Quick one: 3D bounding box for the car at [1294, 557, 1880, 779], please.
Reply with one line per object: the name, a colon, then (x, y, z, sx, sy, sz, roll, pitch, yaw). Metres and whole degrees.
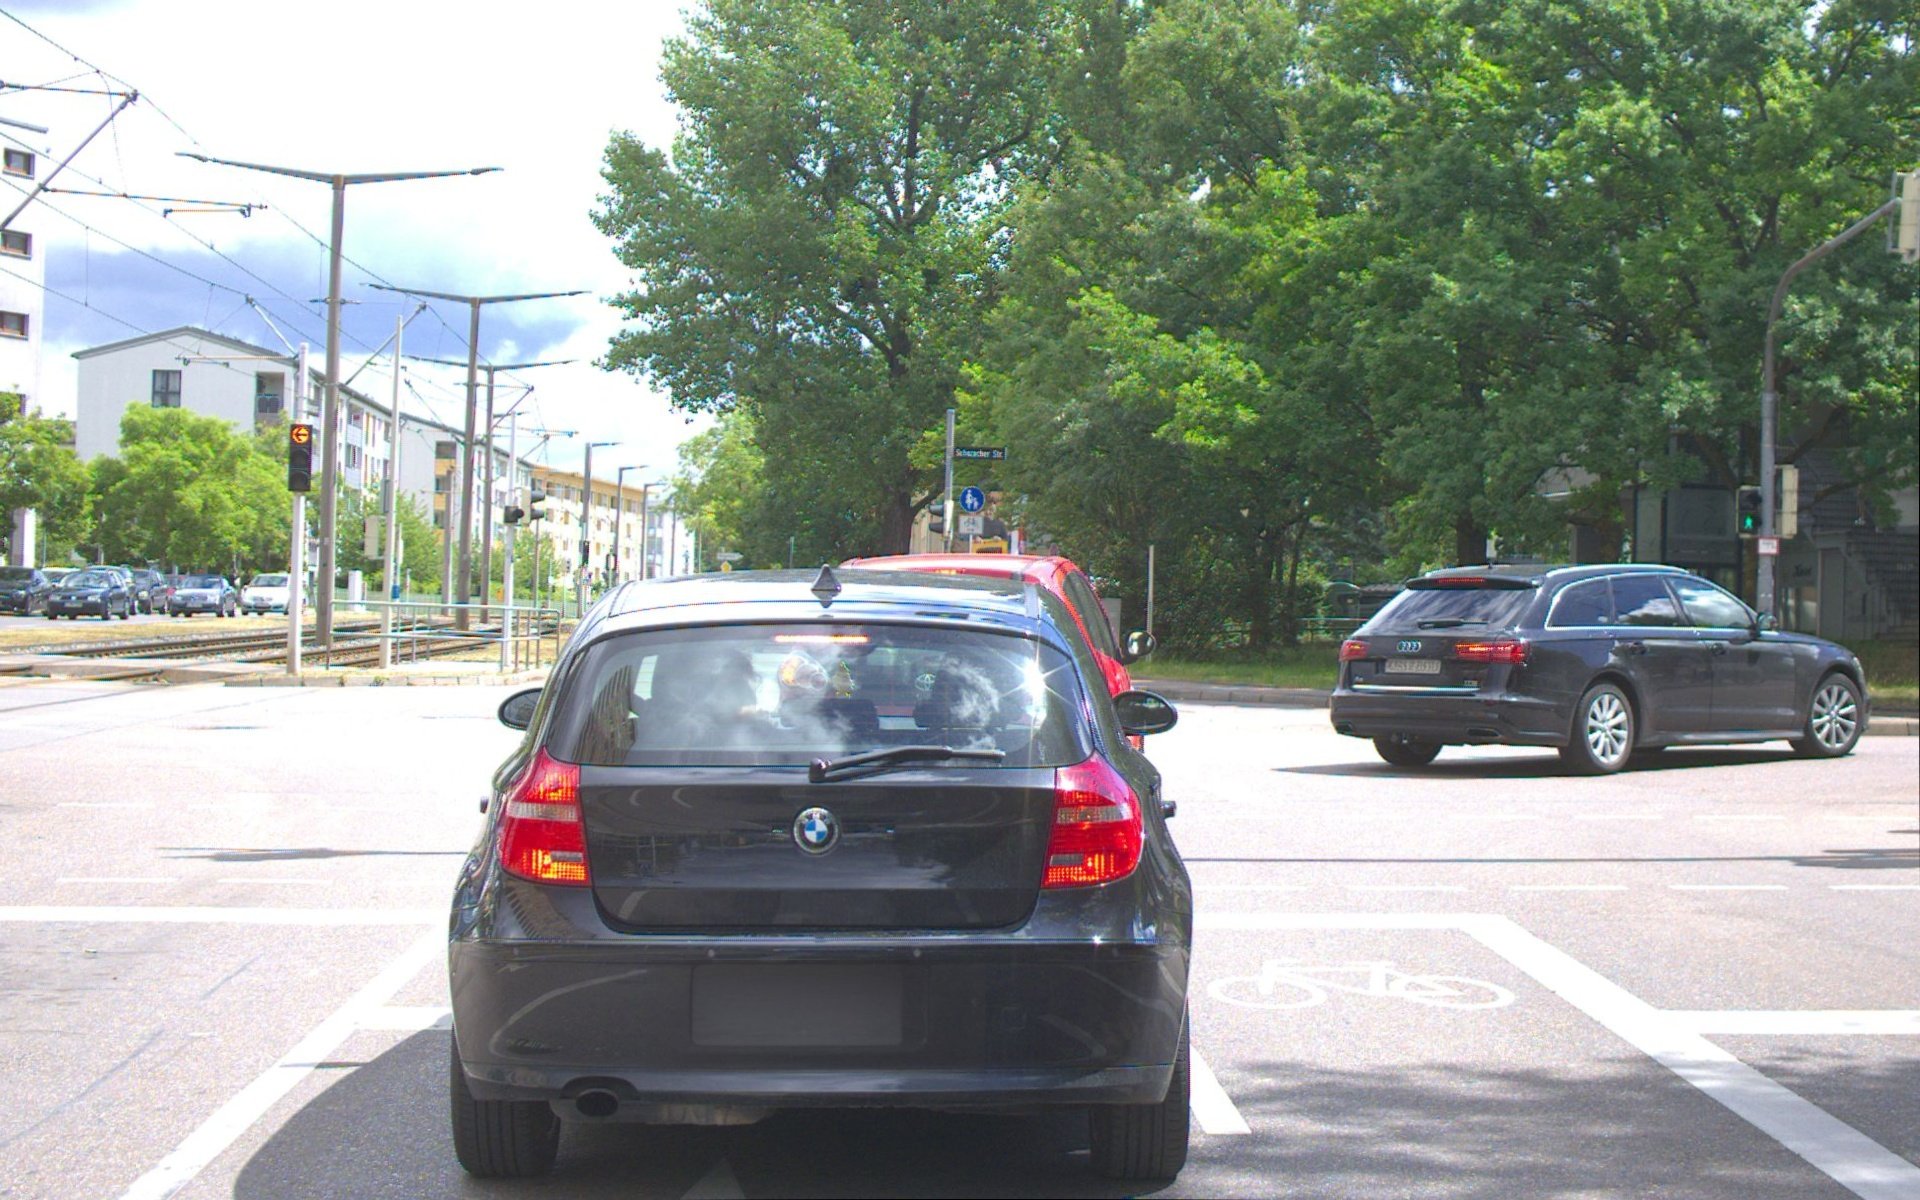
car: (4.590, 0.444, 24.738, 1.905, 1.417, 4.527, 2, 1, 45)

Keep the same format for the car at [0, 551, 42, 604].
car: (-27.988, -0.674, 99.976, 1.591, 1.469, 3.775, 1, 1, -1)

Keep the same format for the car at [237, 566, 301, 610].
car: (-25.471, -0.445, 126.819, 1.651, 1.529, 3.872, 1, 1, -2)

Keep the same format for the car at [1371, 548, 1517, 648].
car: (9.451, -0.070, 67.431, 1.726, 1.865, 4.001, 1, 1, -9)

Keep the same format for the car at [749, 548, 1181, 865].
car: (0.123, 0.455, 17.296, 1.639, 1.395, 3.419, 1, 1, 9)

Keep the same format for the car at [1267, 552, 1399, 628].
car: (8.471, -0.247, 78.344, 1.862, 1.656, 4.001, 1, 1, -11)

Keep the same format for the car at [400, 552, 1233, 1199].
car: (-0.299, 0.600, 8.801, 1.700, 1.395, 3.420, 1, 1, 0)

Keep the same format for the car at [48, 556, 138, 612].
car: (-24.697, -0.465, 97.983, 1.651, 1.529, 3.872, 1, 1, -2)

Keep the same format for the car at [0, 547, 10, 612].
car: (-23.260, -0.473, 79.385, 1.651, 1.529, 3.872, 1, 1, -2)

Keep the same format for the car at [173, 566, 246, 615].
car: (-24.887, -0.337, 114.123, 1.651, 1.529, 3.872, 1, 1, -2)
